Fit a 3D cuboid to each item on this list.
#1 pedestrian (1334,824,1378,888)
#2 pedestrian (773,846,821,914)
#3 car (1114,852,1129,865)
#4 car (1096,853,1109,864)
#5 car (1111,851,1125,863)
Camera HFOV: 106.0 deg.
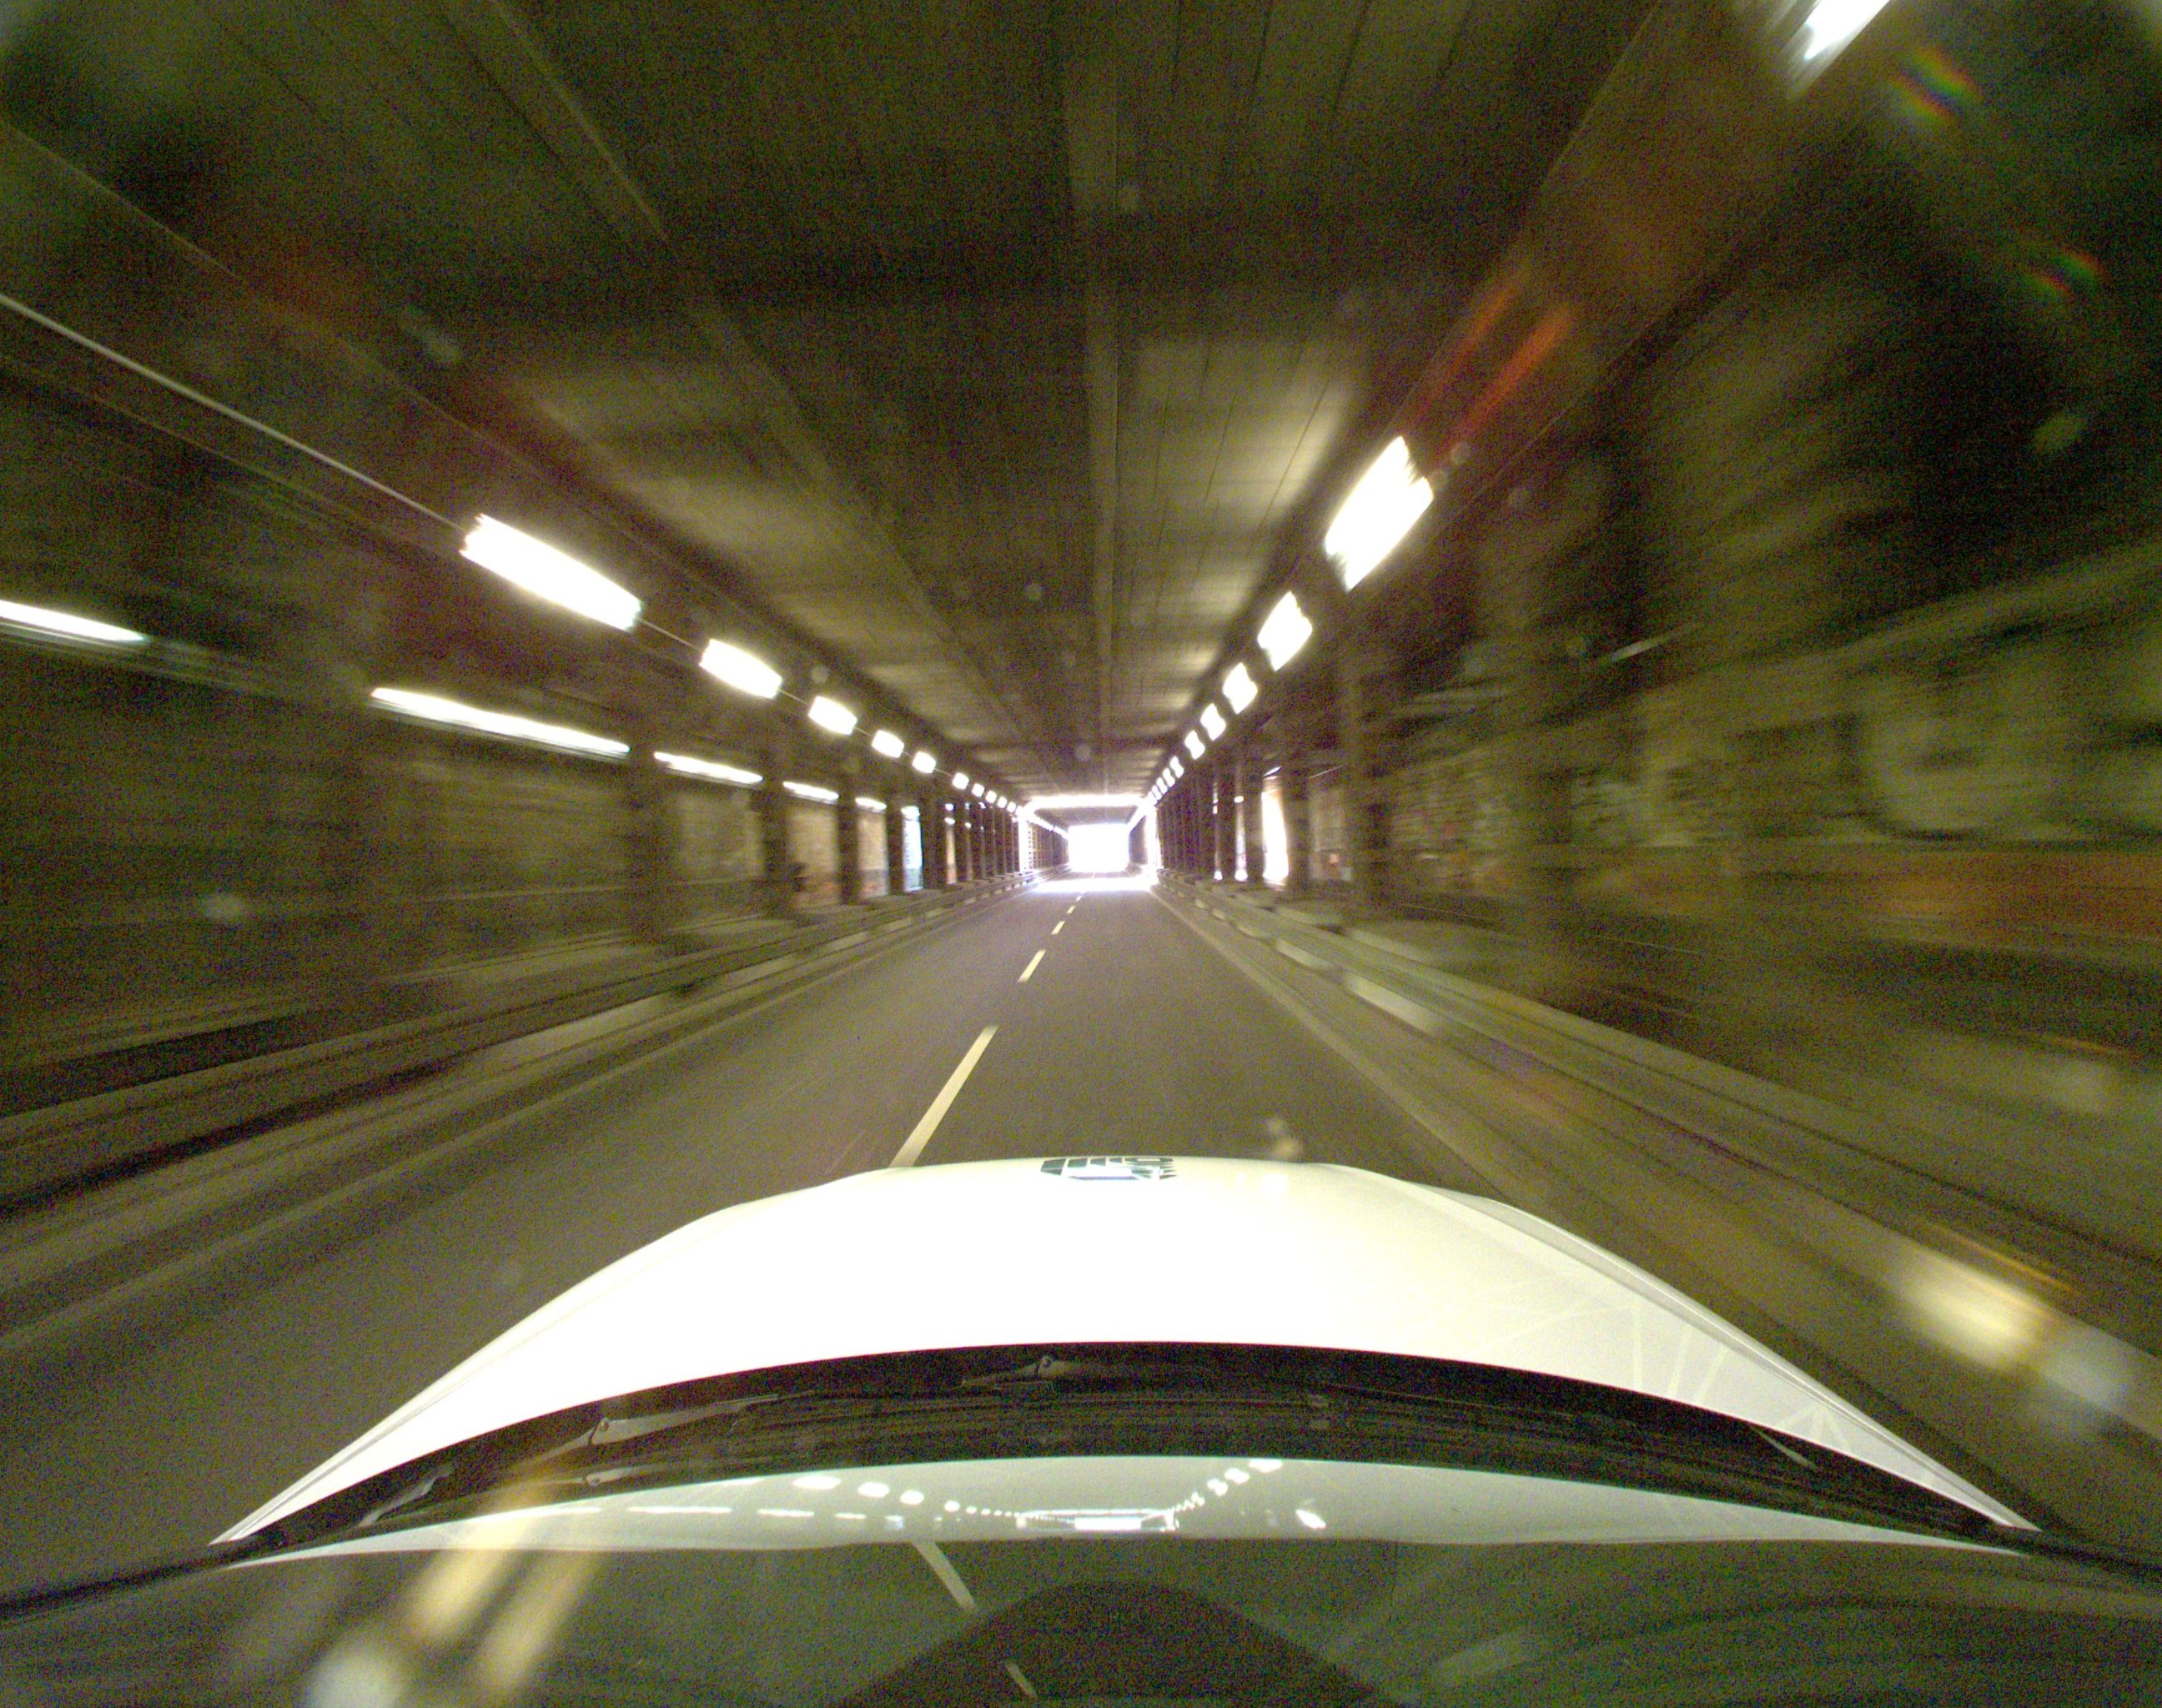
[{"bbox_3d":[7.782,0.055,23.115,0.797,1.701,1.111,-4,0,1],"label":"pedestrian"},{"bbox_3d":[-8.924,0.800,25.622,0.955,2.055,1.356,-2,-2,2],"label":"pedestrian"},{"bbox_3d":[6.002,0.645,120.763,1.986,1.784,4.002,-3,0,2],"label":"car"},{"bbox_3d":[3.592,0.742,136.864,1.986,1.784,4.002,-3,0,2],"label":"car"},{"bbox_3d":[5.911,0.488,130.647,1.986,1.784,4.002,-3,0,2],"label":"car"}]
